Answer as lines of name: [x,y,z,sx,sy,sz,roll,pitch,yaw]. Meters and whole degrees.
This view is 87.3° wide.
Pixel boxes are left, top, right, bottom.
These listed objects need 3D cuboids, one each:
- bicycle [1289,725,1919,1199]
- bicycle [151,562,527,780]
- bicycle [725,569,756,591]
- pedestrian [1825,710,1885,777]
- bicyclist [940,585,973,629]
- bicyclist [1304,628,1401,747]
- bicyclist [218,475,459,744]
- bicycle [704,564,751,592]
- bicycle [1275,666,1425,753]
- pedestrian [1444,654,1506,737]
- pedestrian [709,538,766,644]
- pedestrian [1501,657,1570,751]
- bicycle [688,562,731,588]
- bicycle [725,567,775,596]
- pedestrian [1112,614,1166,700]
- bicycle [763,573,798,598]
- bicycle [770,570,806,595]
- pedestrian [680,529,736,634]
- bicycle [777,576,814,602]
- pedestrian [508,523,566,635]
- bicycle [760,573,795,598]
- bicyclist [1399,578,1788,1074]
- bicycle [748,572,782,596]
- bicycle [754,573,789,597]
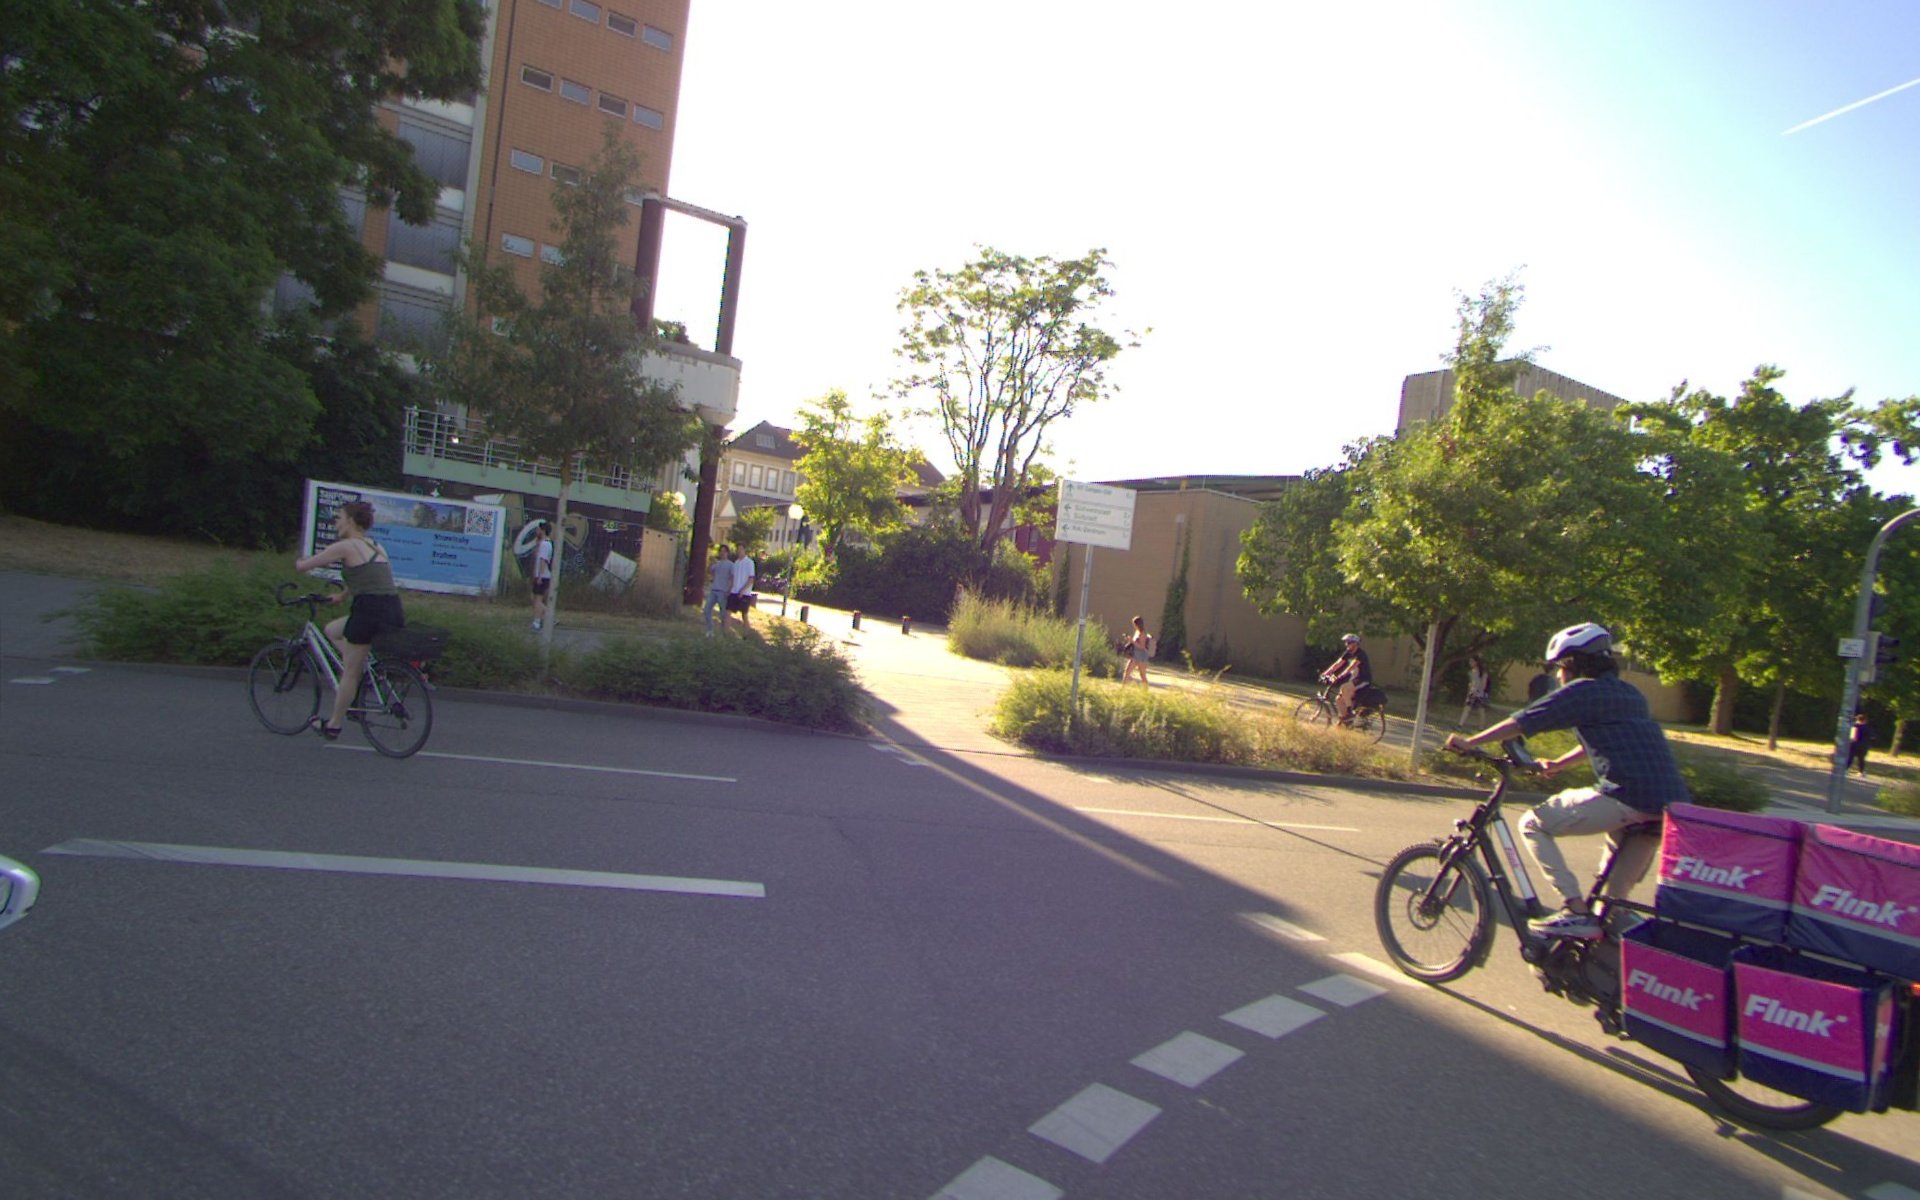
bicycle: [2.740,1.315,4.353,0.772,1.170,2.562,6,-2,-30]
bicycle: [-4.428,0.473,7.231,2.247,1.170,0.780,8,1,9]
bicycle: [-14.200,-1.293,65.102,1.778,1.120,0.497,9,0,-25]
pedestrian: [23.024,3.678,25.879,0.838,1.563,0.757,6,2,-30]
bicyclist: [-0.127,0.262,37.241,0.612,1.451,0.916,9,0,31]
bicyclist: [6.693,1.477,17.181,1.076,1.854,0.778,7,1,-15]
bicyclist: [-4.428,0.063,7.225,1.072,1.698,0.780,8,1,9]
bicycle: [-15.798,-1.495,68.428,2.847,1.397,0.678,9,0,-25]
bicycle: [6.664,1.875,17.197,2.255,1.170,0.778,7,1,-15]
pedestrian: [11.556,2.130,22.574,0.867,1.726,0.671,6,2,-29]
pedestrian: [-4.148,-0.157,18.759,0.611,1.893,0.576,8,2,27]
pedestrian: [11.504,2.073,20.127,0.724,1.735,0.708,6,2,-24]
bicycle: [-18.407,-1.823,74.019,2.847,1.397,0.678,9,0,-25]
bicycle: [-13.252,-1.165,63.526,2.847,1.397,0.678,9,0,-25]
pedestrian: [3.540,1.116,19.930,0.631,1.594,0.619,6,2,-24]
bicycle: [-10.221,-0.827,57.299,1.778,1.120,0.497,9,0,-25]
bicycle: [-9.509,-0.979,55.763,1.778,1.120,0.497,9,0,-25]
pedestrian: [-4.774,-0.336,19.077,0.611,1.893,0.576,8,2,27]
bicycle: [-8.814,-0.608,53.990,1.778,1.120,0.497,9,0,-25]
pedestrian: [-6.907,-0.346,16.440,0.621,1.721,0.620,7,2,-16]
bicycle: [-10.512,-0.836,58.050,1.778,1.120,0.497,9,0,-25]
bicyclist: [2.744,0.878,4.440,0.772,1.855,1.085,6,-1,-30]
bicycle: [-11.759,-0.971,60.713,1.778,1.120,0.497,9,0,-25]
bicycle: [-11.129,-0.891,59.407,1.778,1.120,0.497,9,0,-25]
